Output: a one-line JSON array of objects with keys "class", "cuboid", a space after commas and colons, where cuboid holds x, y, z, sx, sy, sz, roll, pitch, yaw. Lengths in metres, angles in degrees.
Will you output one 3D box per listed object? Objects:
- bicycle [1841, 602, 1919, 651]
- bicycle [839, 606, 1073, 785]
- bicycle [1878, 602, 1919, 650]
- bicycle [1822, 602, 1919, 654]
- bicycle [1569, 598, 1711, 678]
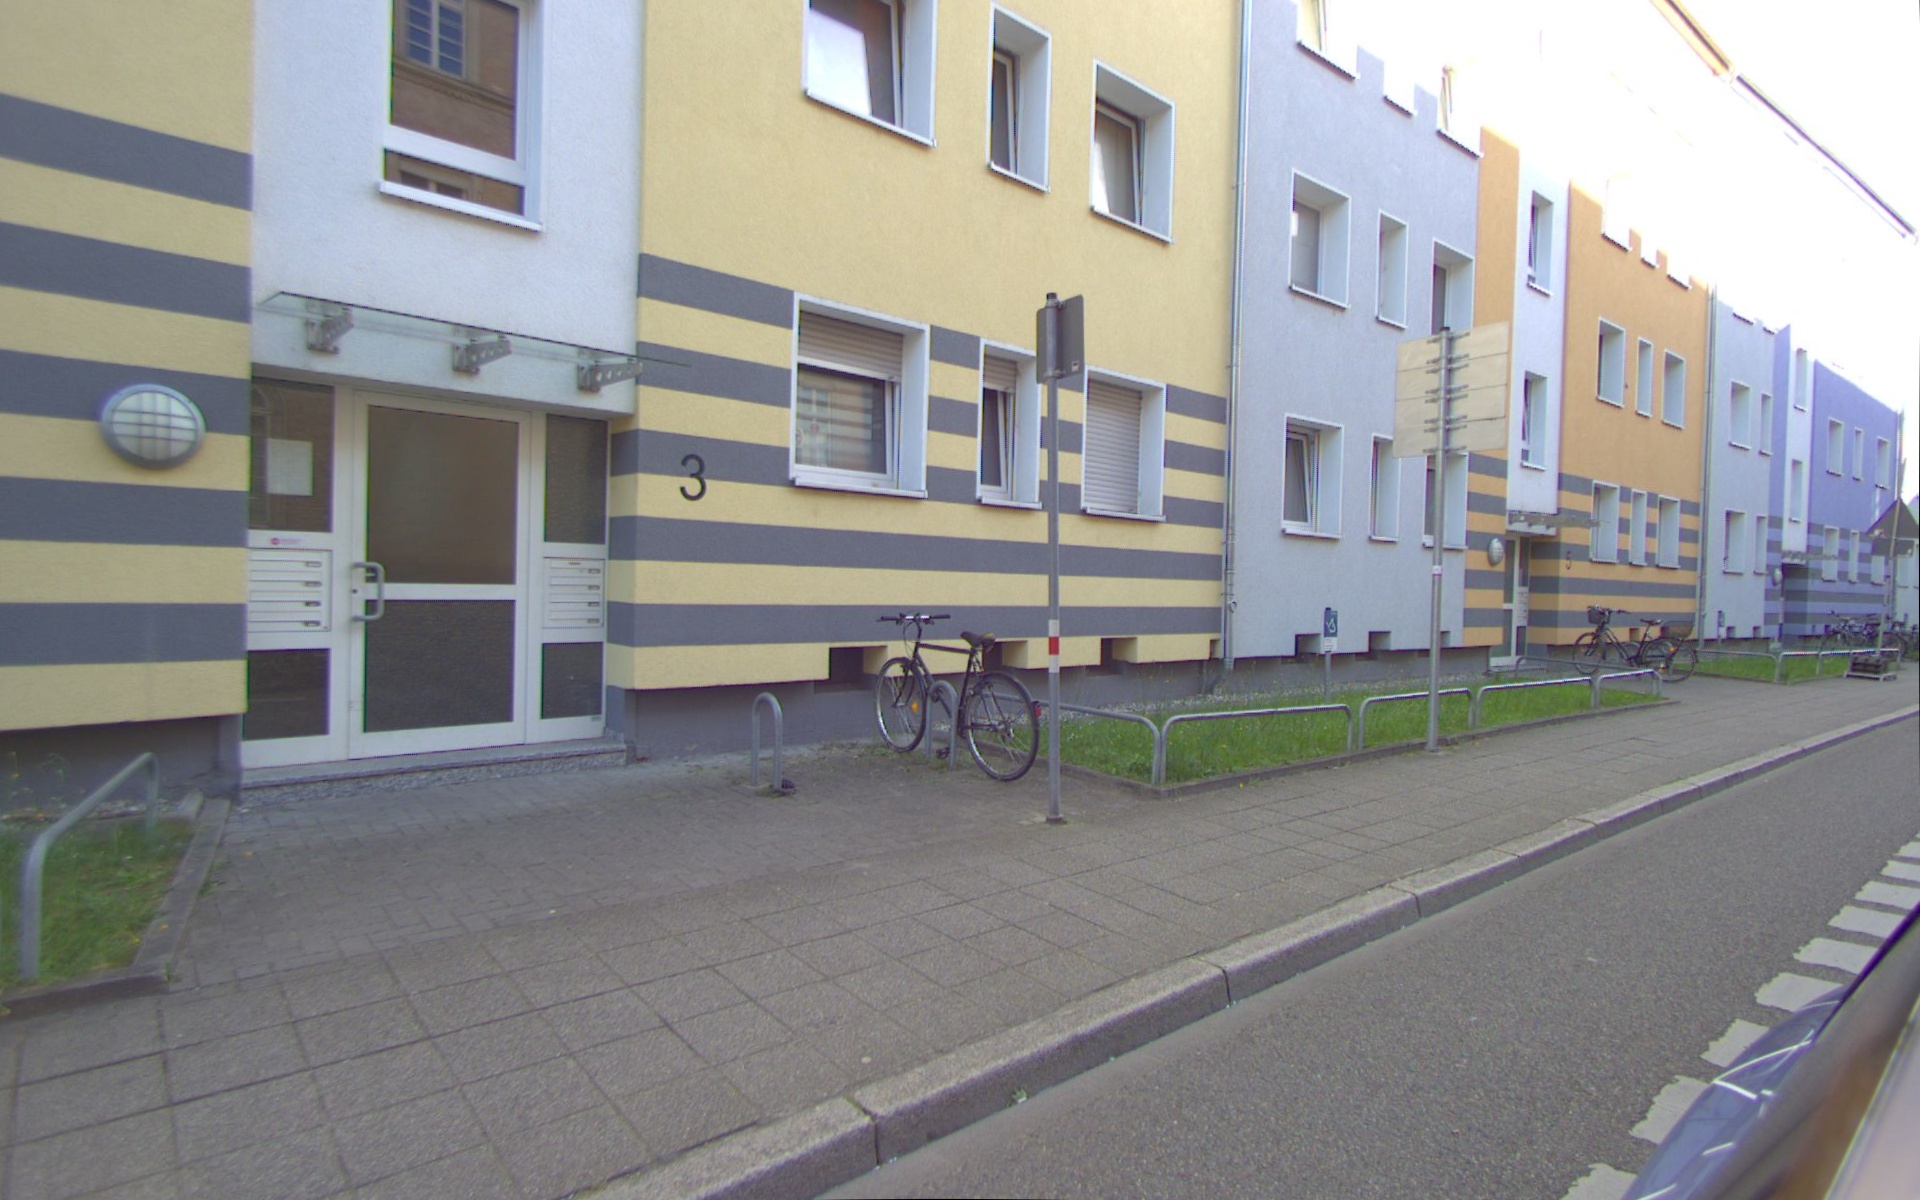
[{"class": "bicycle", "cuboid": [23.300, 0.655, 25.418, 0.475, 1.166, 1.678, 1, 1, -37]}, {"class": "bicycle", "cuboid": [-0.079, 0.590, 7.011, 1.775, 1.031, 0.476, 3, 1, 44]}, {"class": "bicycle", "cuboid": [24.128, 0.667, 25.275, 0.475, 1.166, 1.678, 1, 1, -37]}, {"class": "bicycle", "cuboid": [22.219, 0.672, 24.726, 0.475, 1.166, 1.678, 1, 1, -37]}, {"class": "bicycle", "cuboid": [10.681, 0.569, 15.941, 1.775, 1.137, 0.476, 3, 1, 44]}]
